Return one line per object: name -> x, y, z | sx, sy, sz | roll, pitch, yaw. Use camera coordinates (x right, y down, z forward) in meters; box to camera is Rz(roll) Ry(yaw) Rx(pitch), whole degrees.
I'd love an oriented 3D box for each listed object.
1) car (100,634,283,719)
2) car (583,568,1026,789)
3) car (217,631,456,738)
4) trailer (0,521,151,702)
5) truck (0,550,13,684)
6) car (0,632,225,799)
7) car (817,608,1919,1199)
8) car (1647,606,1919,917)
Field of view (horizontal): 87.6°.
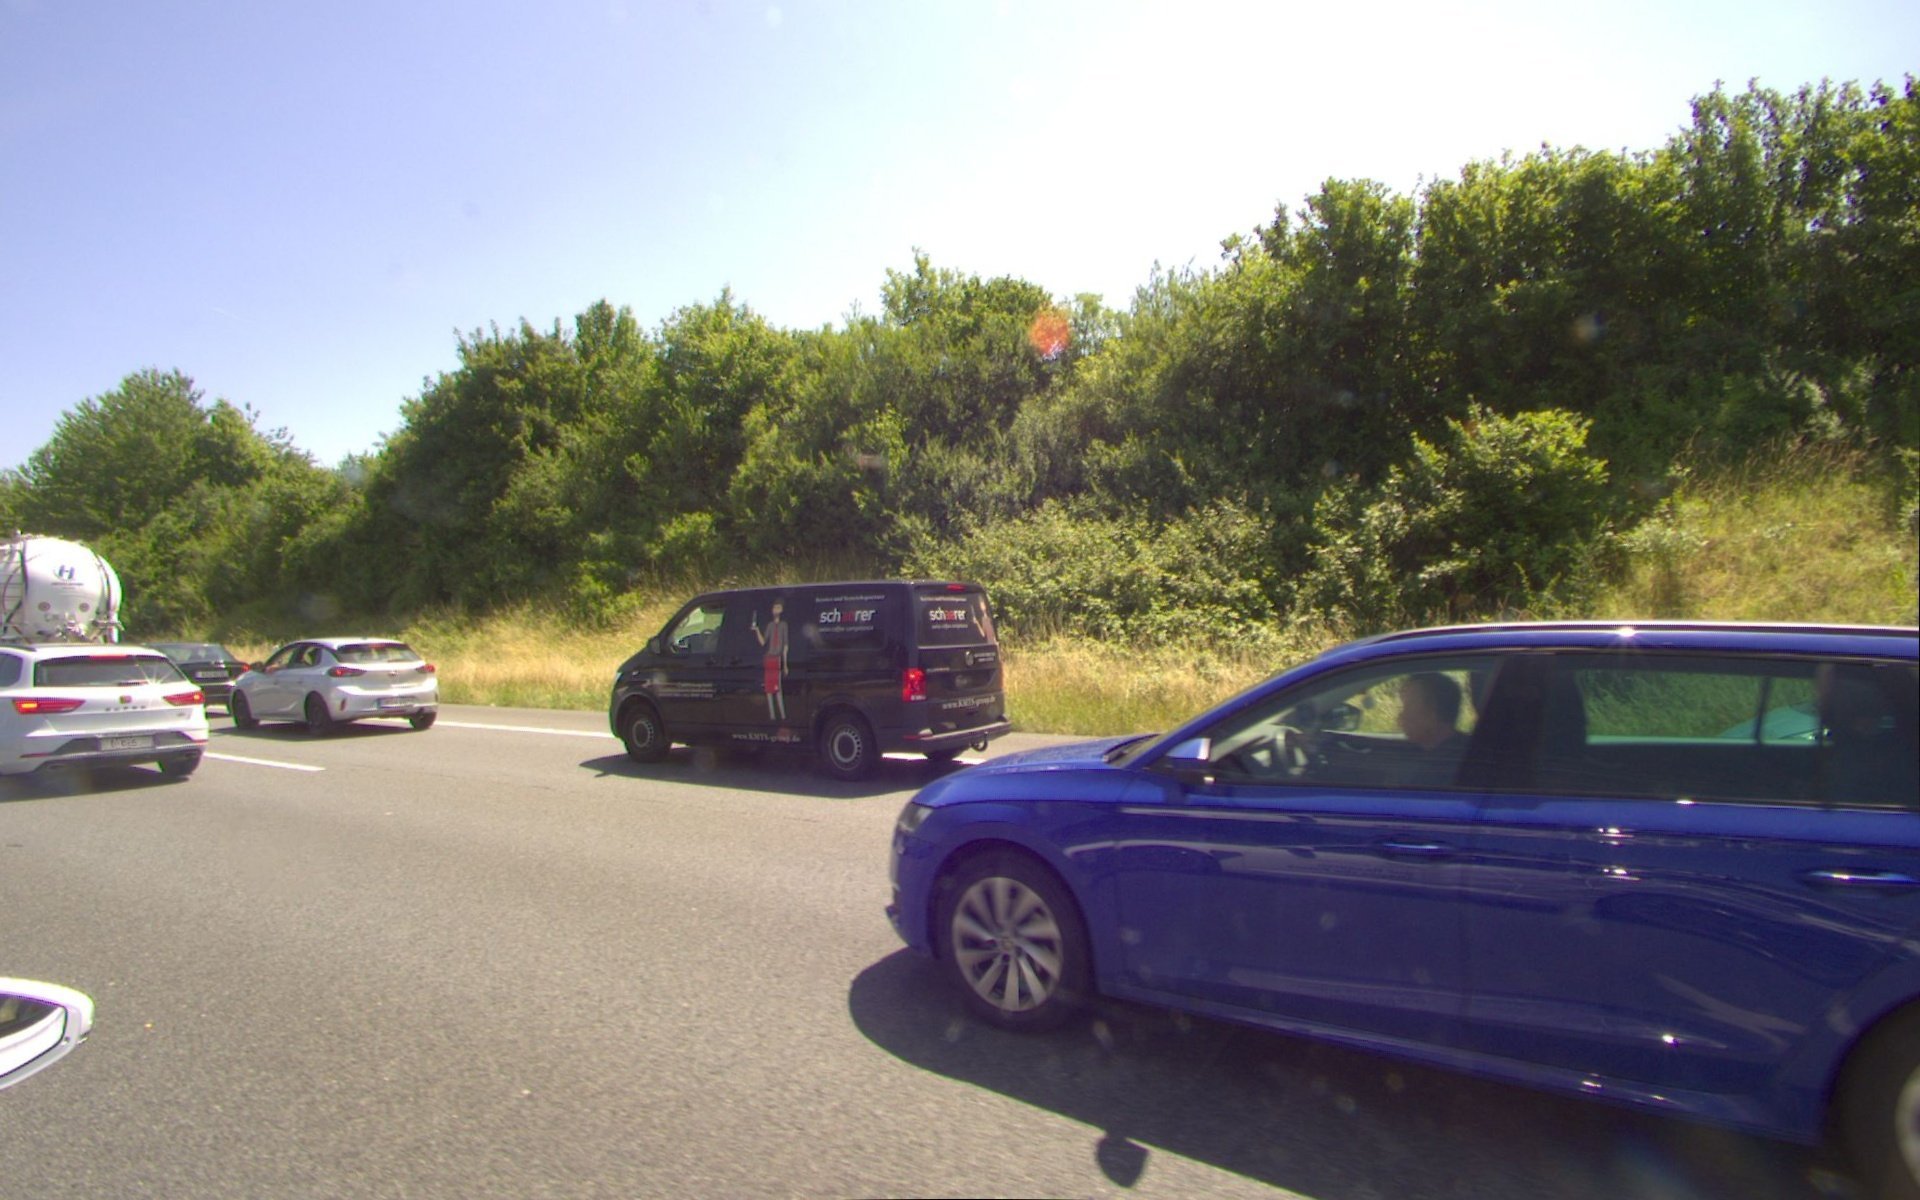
car -> -15.059, 1.453, 19.575 | 3.935, 1.435, 1.637 | -2, 0, 34
car -> -1.838, 0.788, 11.055 | 4.790, 1.965, 1.909 | -2, -1, 34
car -> -10.018, 1.254, 16.019 | 3.971, 1.462, 1.727 | -1, 0, 33
trailer -> -24.659, 0.388, 25.597 | 11.324, 3.895, 2.755 | -2, -1, 33
truck -> -30.743, 0.542, 29.571 | 5.493, 3.886, 2.787 | -1, -1, 33
car -> -9.884, 1.132, 10.855 | 4.255, 1.461, 1.743 | -2, -1, 34
car -> 1.782, 0.800, 3.477 | 4.512, 1.435, 1.771 | -2, -1, 35
car -> 5.860, 0.769, 5.052 | 3.867, 1.480, 1.658 | -2, 0, 33
